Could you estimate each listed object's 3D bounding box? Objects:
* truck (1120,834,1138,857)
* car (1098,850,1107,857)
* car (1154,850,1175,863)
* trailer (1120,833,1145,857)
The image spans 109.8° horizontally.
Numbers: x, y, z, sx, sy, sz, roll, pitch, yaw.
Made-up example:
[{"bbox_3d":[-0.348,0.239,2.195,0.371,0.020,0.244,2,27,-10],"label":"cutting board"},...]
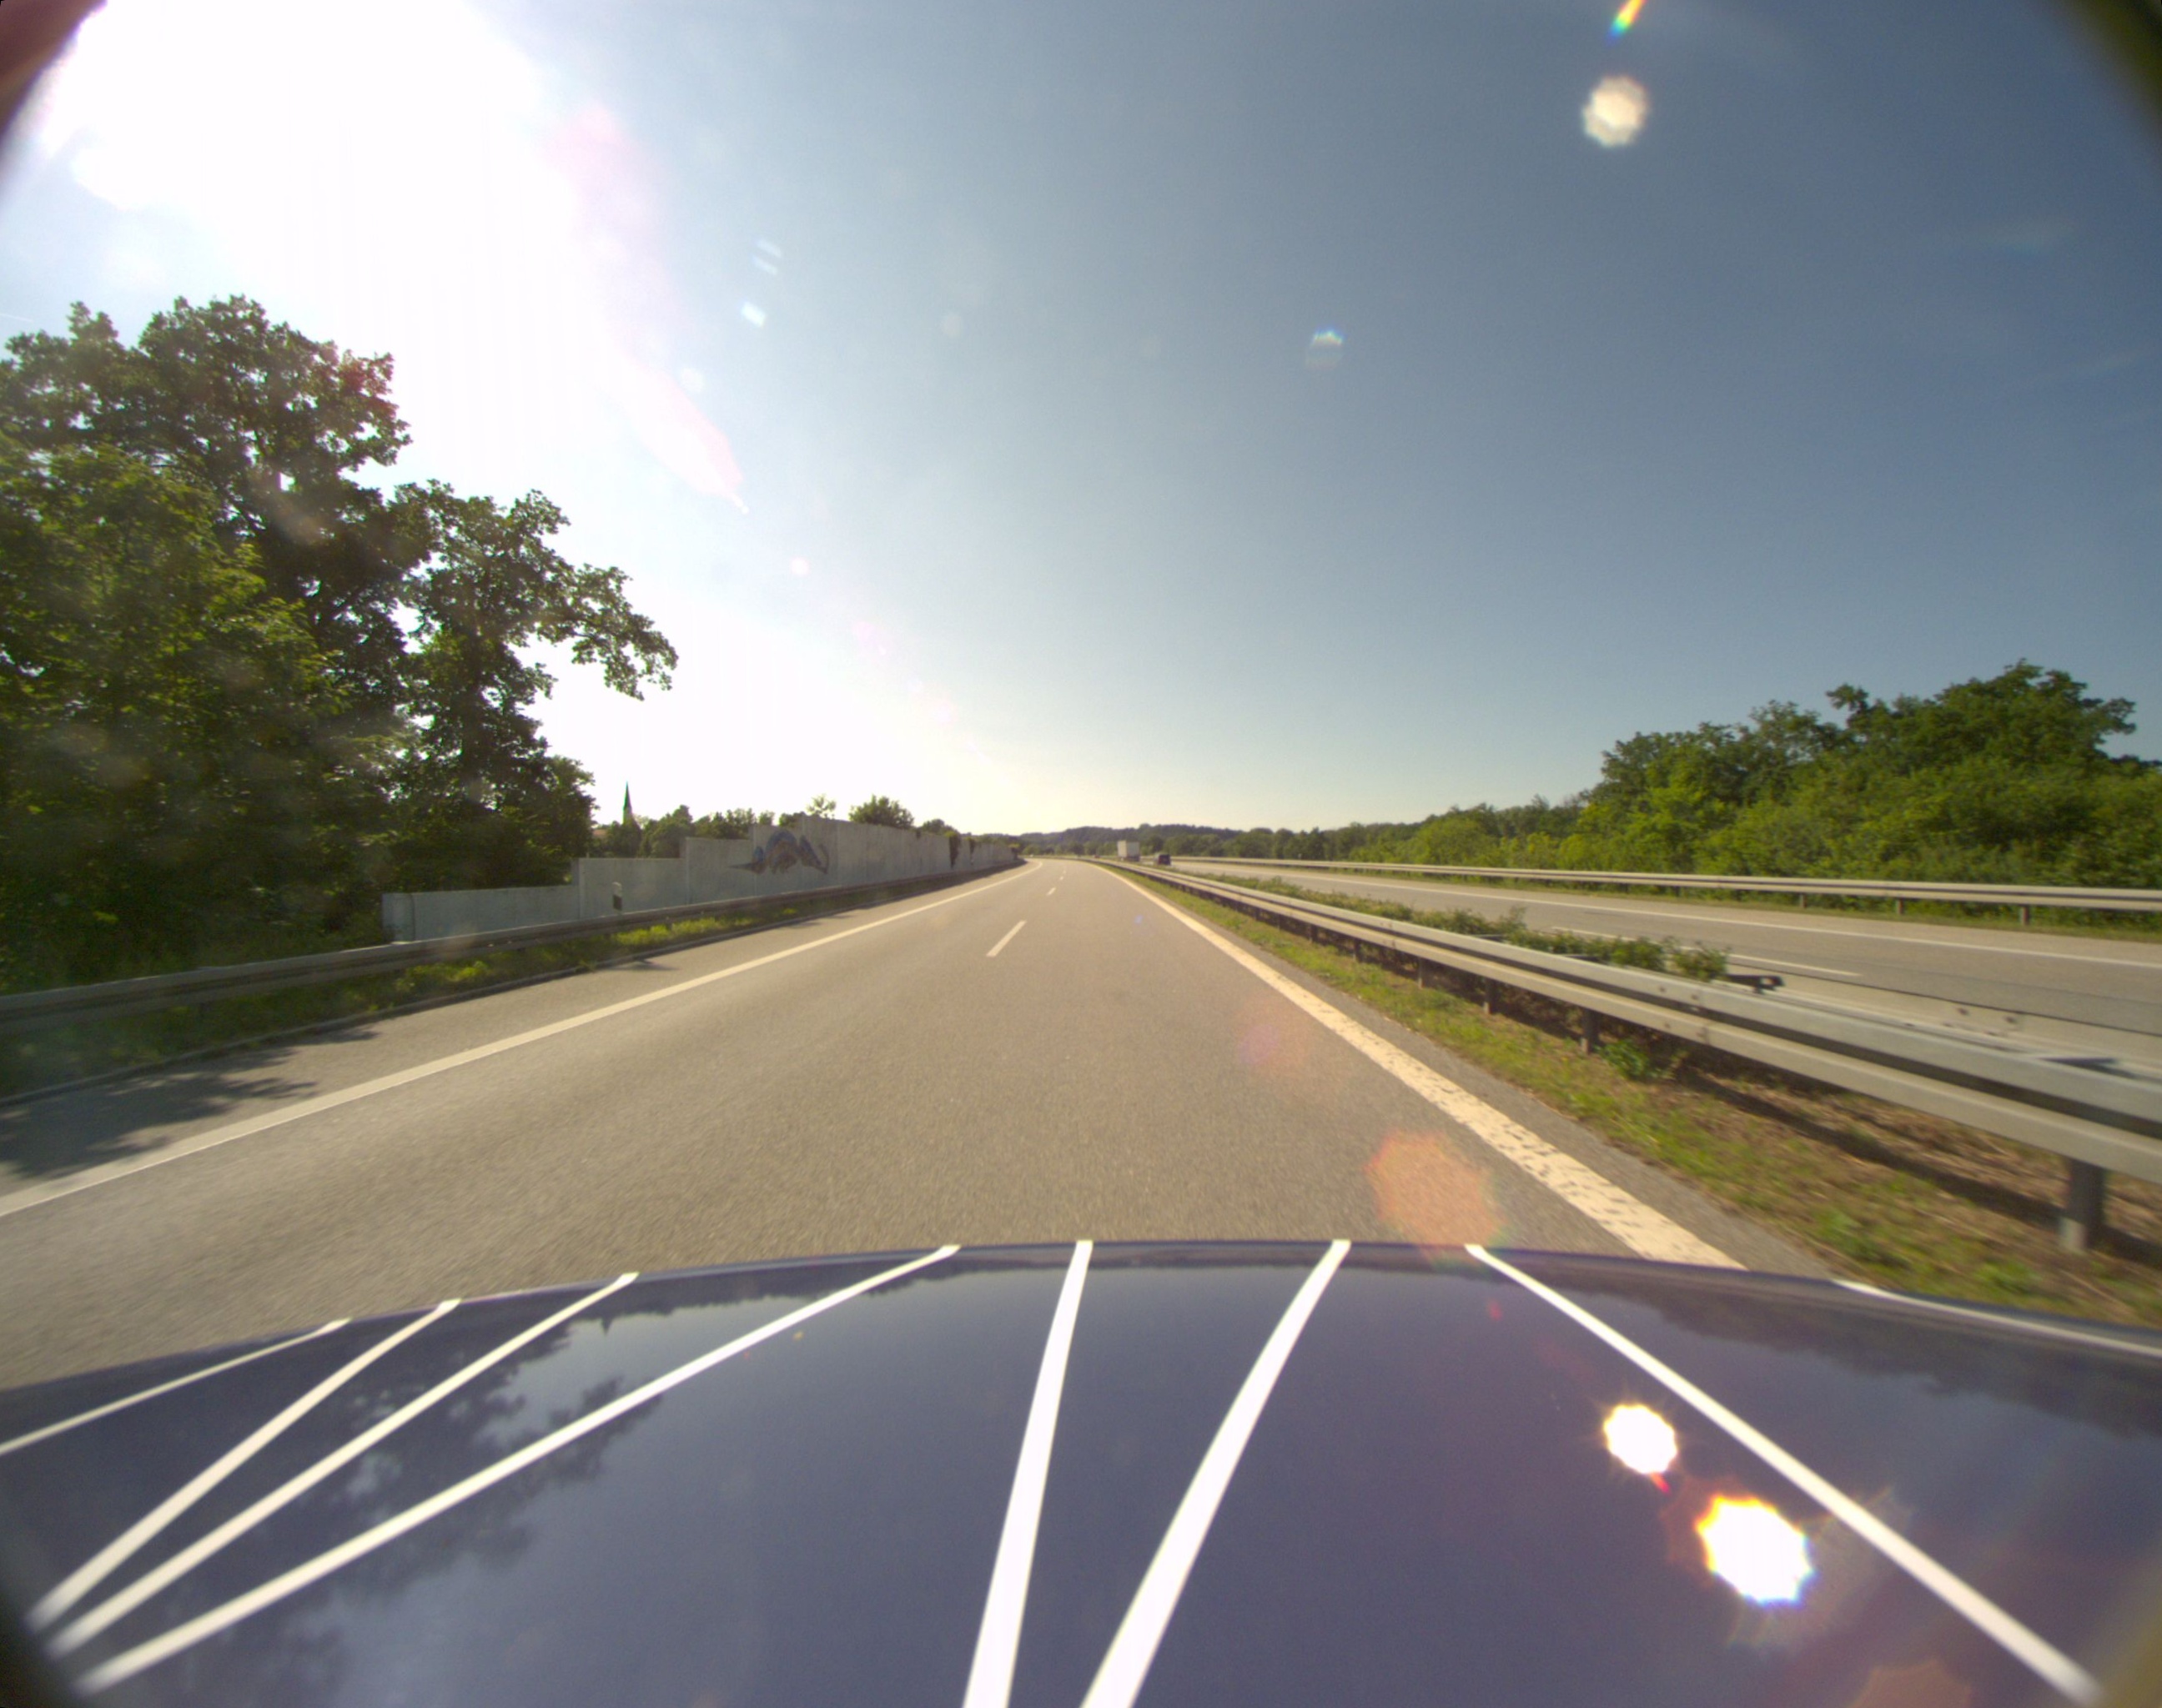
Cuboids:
[{"bbox_3d":[9.629,-1.687,153.724,3.103,4.428,5.111,-2,1,-2],"label":"truck"},{"bbox_3d":[4.732,-0.096,170.221,1.772,1.395,3.999,-1,0,-2],"label":"car"},{"bbox_3d":[10.667,0.260,96.946,1.965,1.591,4.866,-1,0,-2],"label":"car"},{"bbox_3d":[9.862,-1.672,147.205,3.103,4.428,13.744,-2,0,-2],"label":"trailer"}]
